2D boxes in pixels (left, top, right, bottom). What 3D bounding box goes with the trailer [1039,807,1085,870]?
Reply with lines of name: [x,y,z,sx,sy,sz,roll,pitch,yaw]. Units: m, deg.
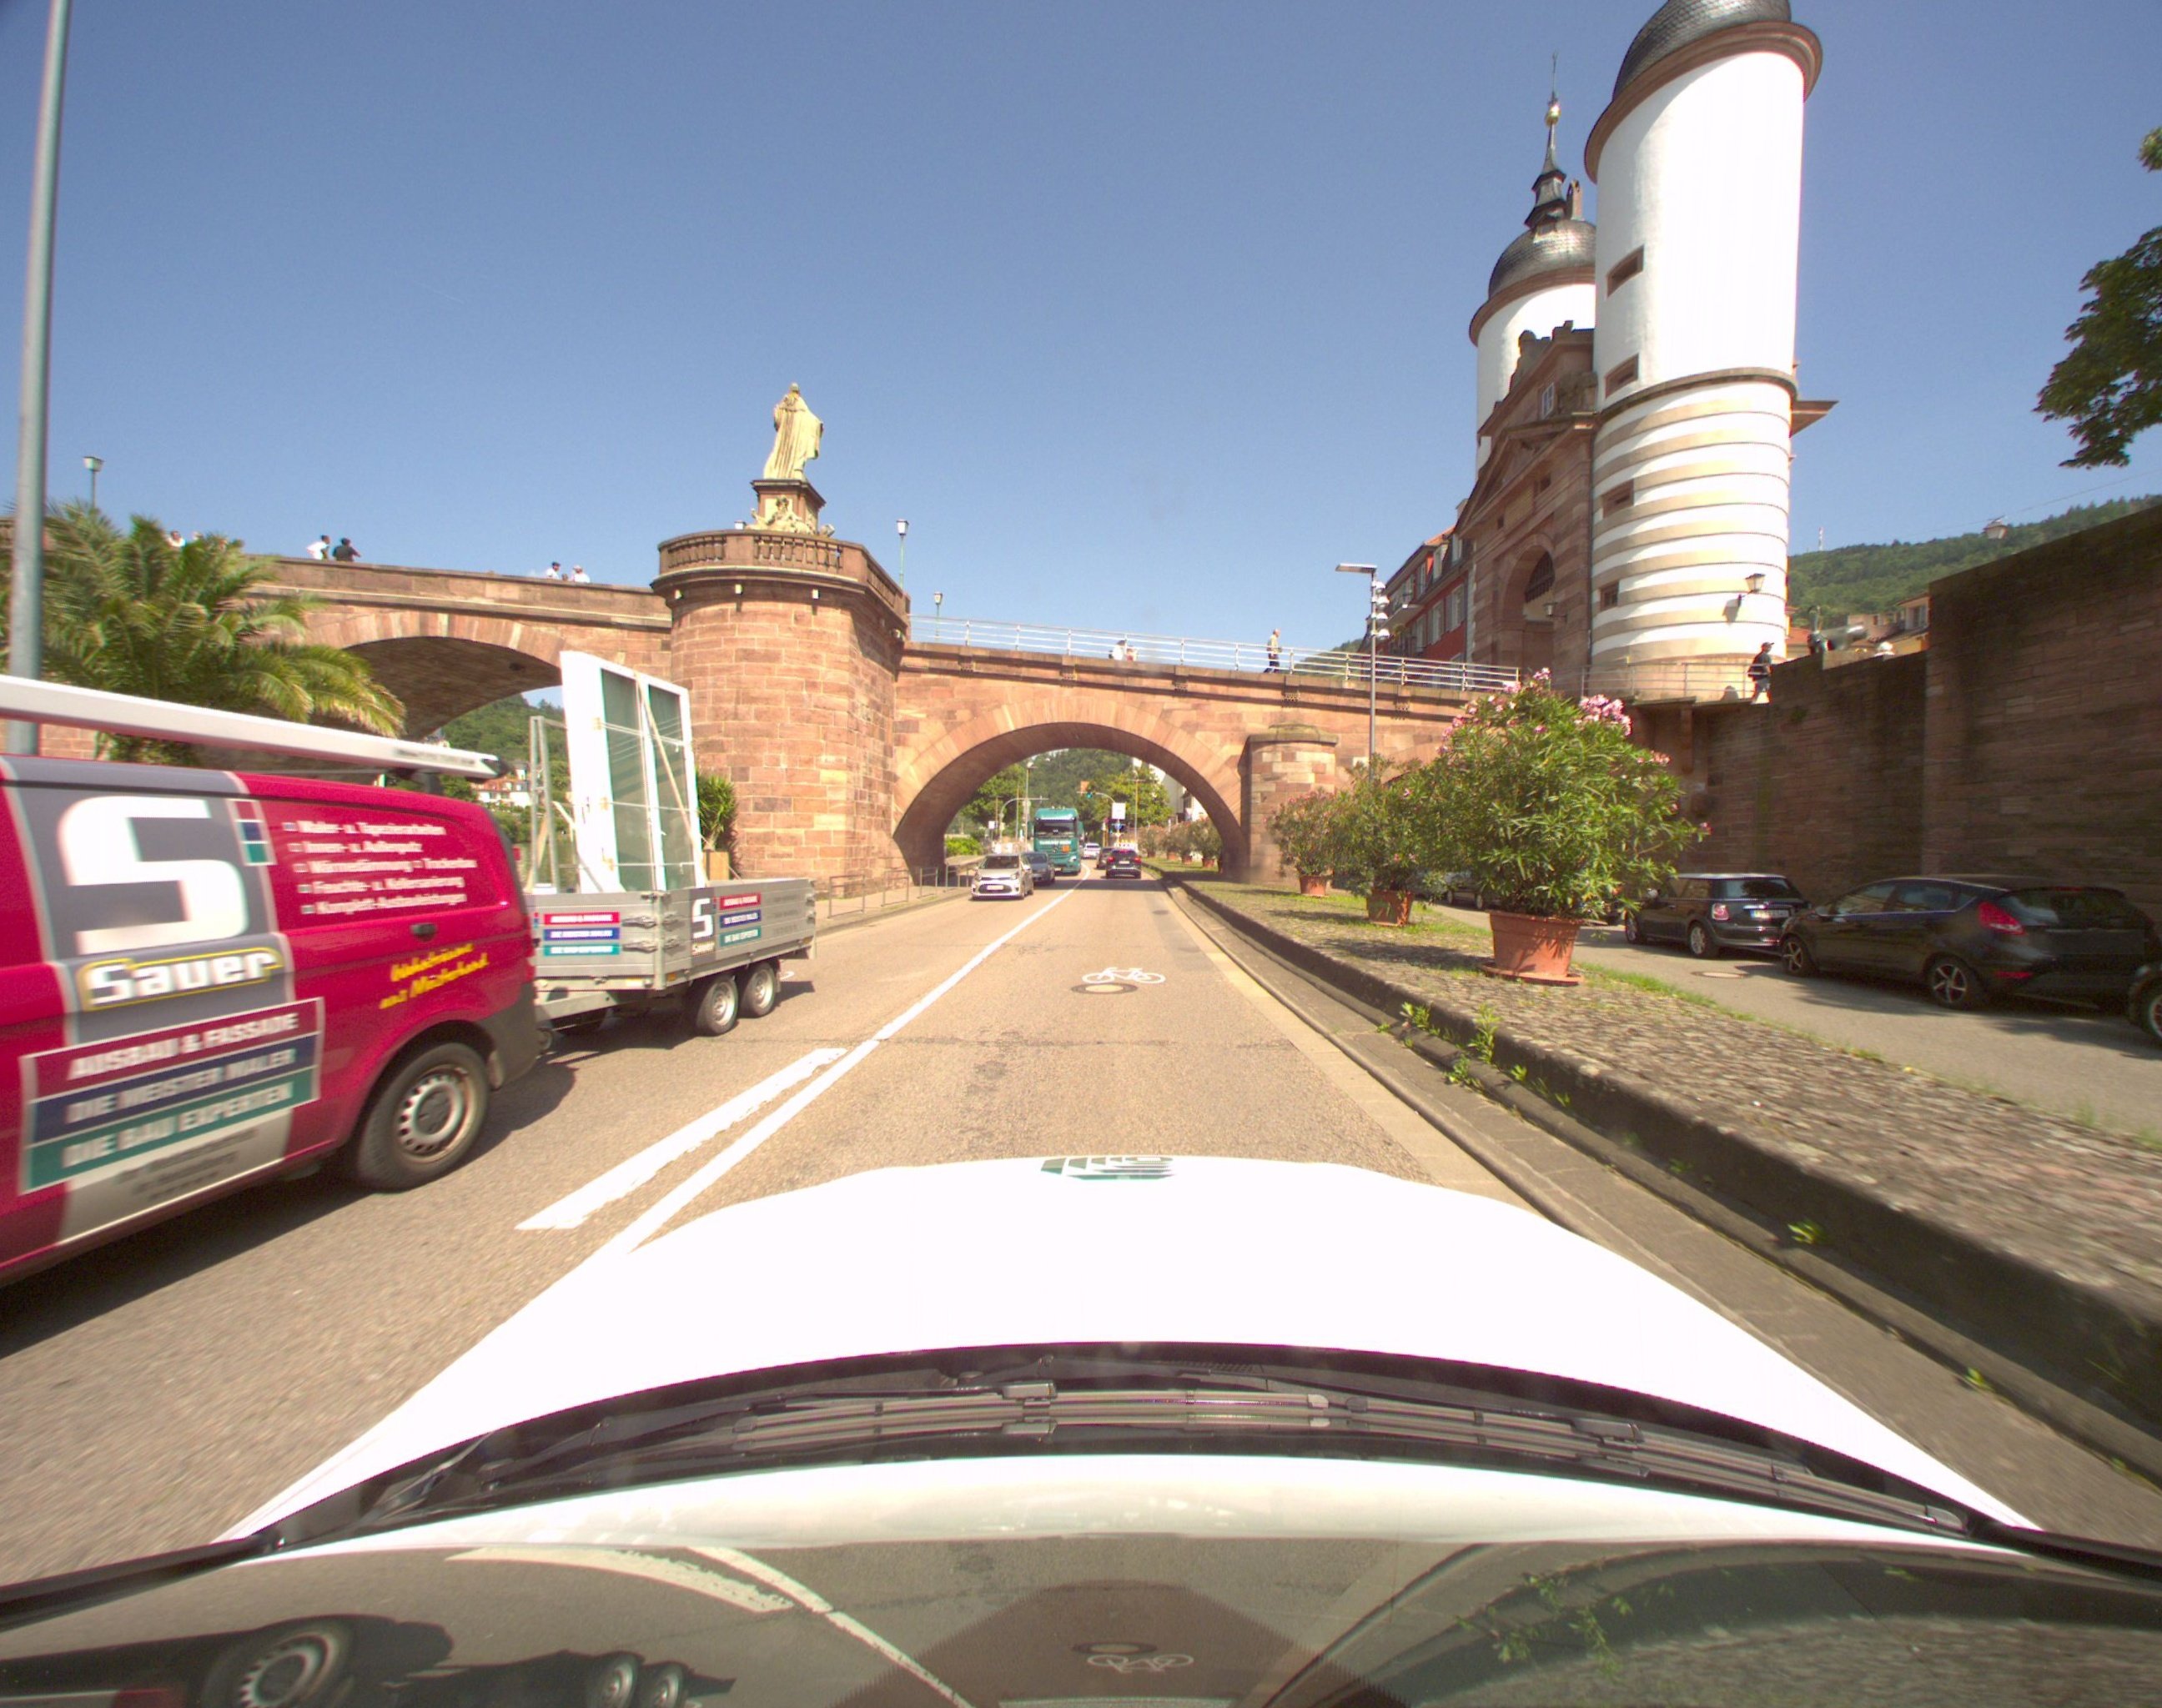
trailer: [-1.059,-0.990,52.775,2.515,3.643,11.532,-1,1,1]

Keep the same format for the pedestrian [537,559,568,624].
pedestrian: [-18.249,-9.063,28.141,0.622,2.014,0.694,0,-1,-4]

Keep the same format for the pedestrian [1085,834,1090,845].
pedestrian: [0.959,-2.207,126.630,0.679,1.742,0.912,1,0,-3]

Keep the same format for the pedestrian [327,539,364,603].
pedestrian: [-25.322,-9.733,28.033,0.691,2.014,0.625,0,-1,-1]

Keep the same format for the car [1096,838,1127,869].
car: [2.003,-0.011,54.498,1.987,2.014,4.000,0,0,1]

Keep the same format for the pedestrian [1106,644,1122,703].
pedestrian: [1.198,-6.584,29.705,0.579,2.014,0.587,0,-1,3]

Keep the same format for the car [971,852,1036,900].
car: [-2.442,0.660,26.428,1.528,1.436,3.731,-1,0,3]

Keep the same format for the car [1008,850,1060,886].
car: [-2.008,0.568,35.818,1.715,1.436,4.404,-1,0,4]

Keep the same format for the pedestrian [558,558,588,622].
pedestrian: [-17.641,-9.159,28.287,0.622,2.014,0.694,0,-1,-4]

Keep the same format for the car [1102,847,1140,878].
car: [2.088,0.422,41.941,1.849,1.524,4.004,0,0,3]

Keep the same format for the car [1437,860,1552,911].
car: [13.116,0.949,26.158,1.767,1.436,4.499,0,0,5]

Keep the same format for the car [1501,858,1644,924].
car: [12.466,0.882,20.959,1.765,1.502,3.997,-1,0,9]

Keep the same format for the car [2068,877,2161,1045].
car: [9.626,0.882,5.266,1.700,1.388,4.421,-1,-1,11]

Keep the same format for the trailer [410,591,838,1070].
trailer: [-3.724,-0.150,7.393,1.734,3.320,3.388,-1,0,4]

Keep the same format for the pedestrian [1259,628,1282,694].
pedestrian: [6.267,-6.367,26.904,0.621,2.014,0.696,0,-1,4]

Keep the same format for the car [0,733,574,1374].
car: [-4.014,0.582,2.457,1.866,1.827,4.549,-1,0,4]

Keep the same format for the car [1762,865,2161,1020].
car: [10.395,0.898,10.002,1.486,1.484,3.726,0,0,10]

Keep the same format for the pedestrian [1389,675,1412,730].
pedestrian: [12.372,-5.861,31.532,0.681,2.014,0.586,0,-1,3]

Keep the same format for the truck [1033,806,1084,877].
truck: [-1.181,-0.755,46.659,2.514,3.748,6.248,-1,1,1]

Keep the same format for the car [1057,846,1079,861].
car: [-1.480,-0.067,92.442,1.993,1.662,3.988,1,-1,-9]

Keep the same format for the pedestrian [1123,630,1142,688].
pedestrian: [1.901,-7.209,30.191,0.681,2.014,0.586,0,-1,3]

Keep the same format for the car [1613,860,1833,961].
car: [11.261,0.890,14.639,1.580,1.520,3.916,0,0,12]

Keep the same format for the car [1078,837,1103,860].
car: [0.845,-0.502,75.346,1.989,2.014,3.995,0,0,-4]
